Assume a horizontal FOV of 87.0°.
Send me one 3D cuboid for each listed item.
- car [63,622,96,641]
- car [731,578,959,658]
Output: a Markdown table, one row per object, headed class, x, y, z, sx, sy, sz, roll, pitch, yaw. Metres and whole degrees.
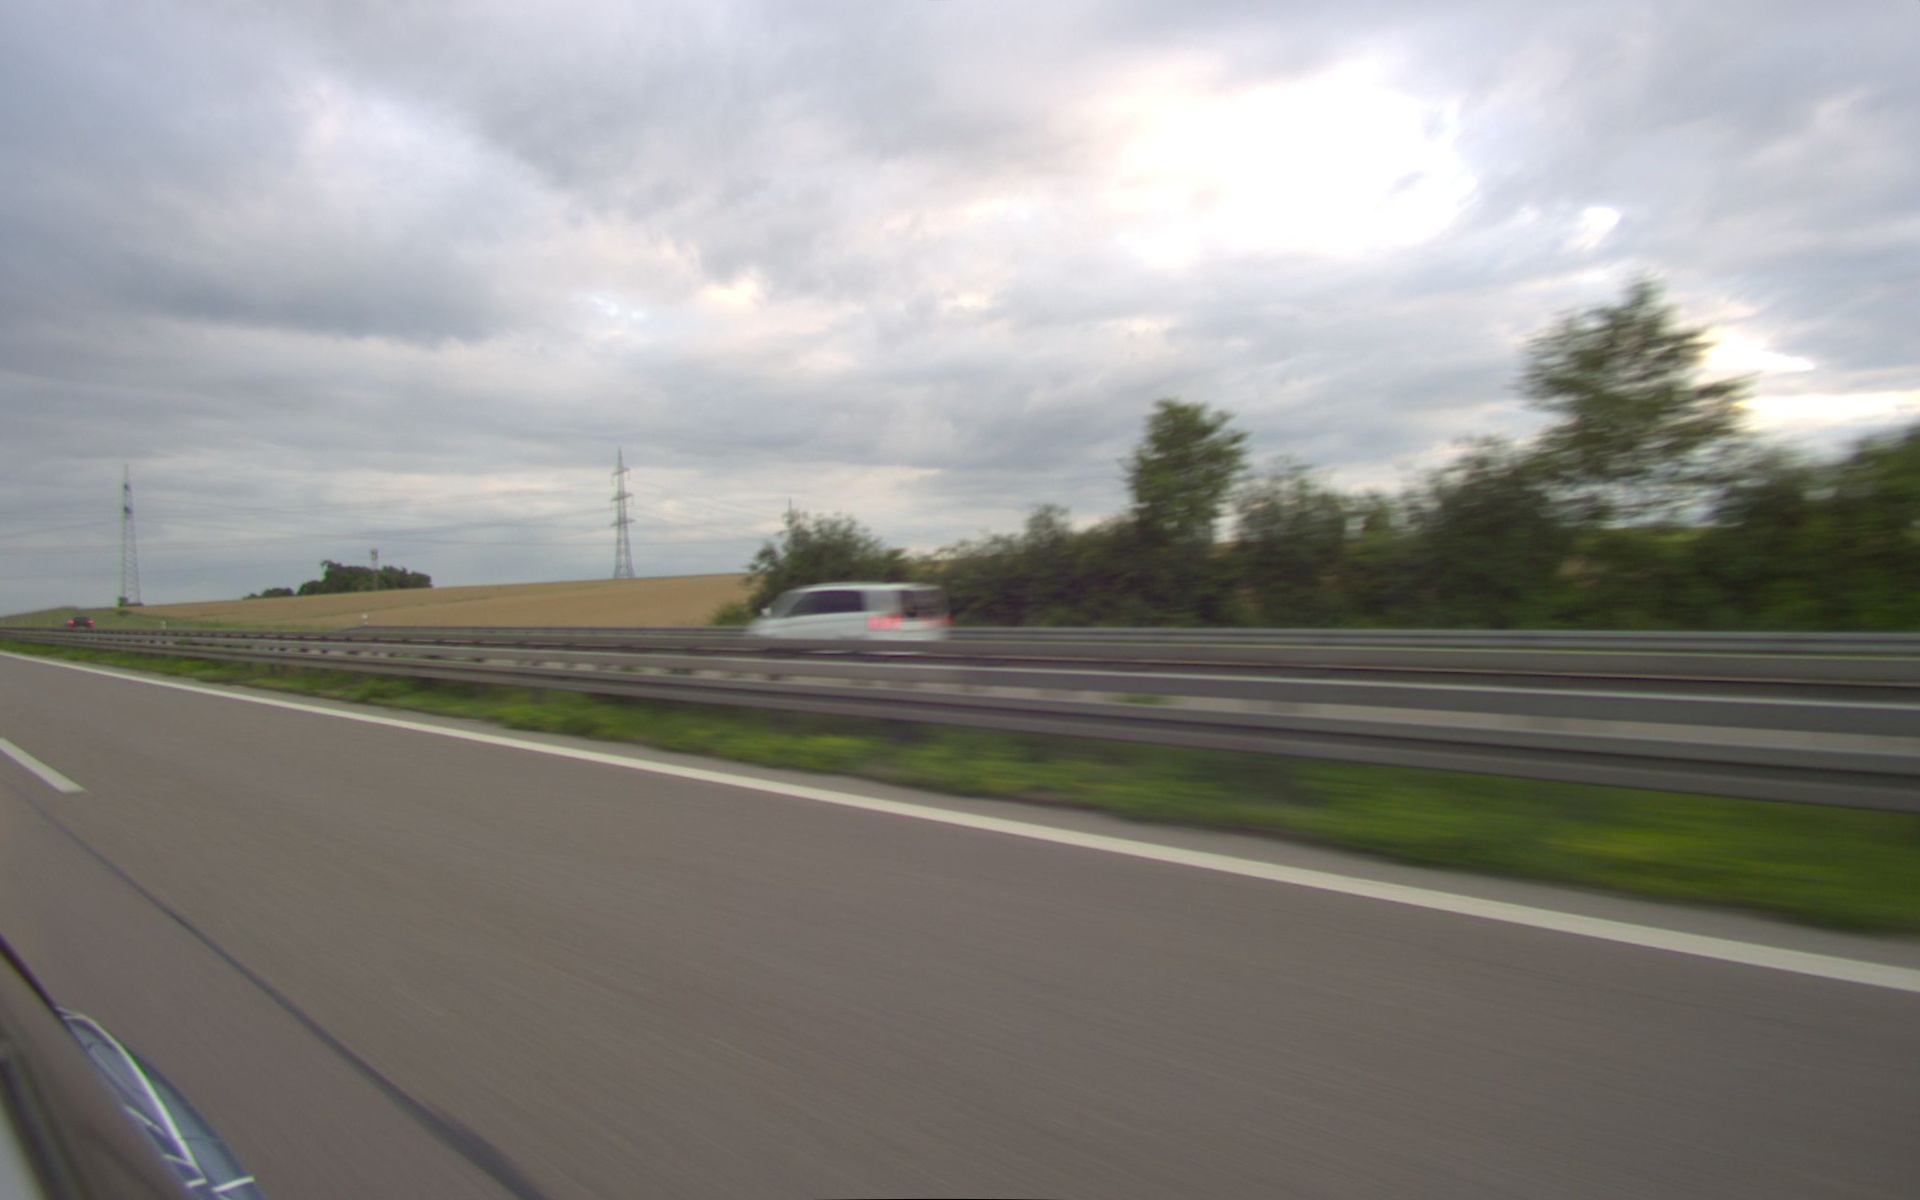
| class | x | y | z | sx | sy | sz | roll | pitch | yaw |
| --- | --- | --- | --- | --- | --- | --- | --- | --- | --- |
| car | -91.746 | 3.298 | 105.447 | 5.768 | 1.706 | 1.866 | -2 | 1 | 43 |
| car | -2.853 | 0.455 | 24.070 | 5.732 | 1.639 | 1.973 | -2 | 1 | 41 |
